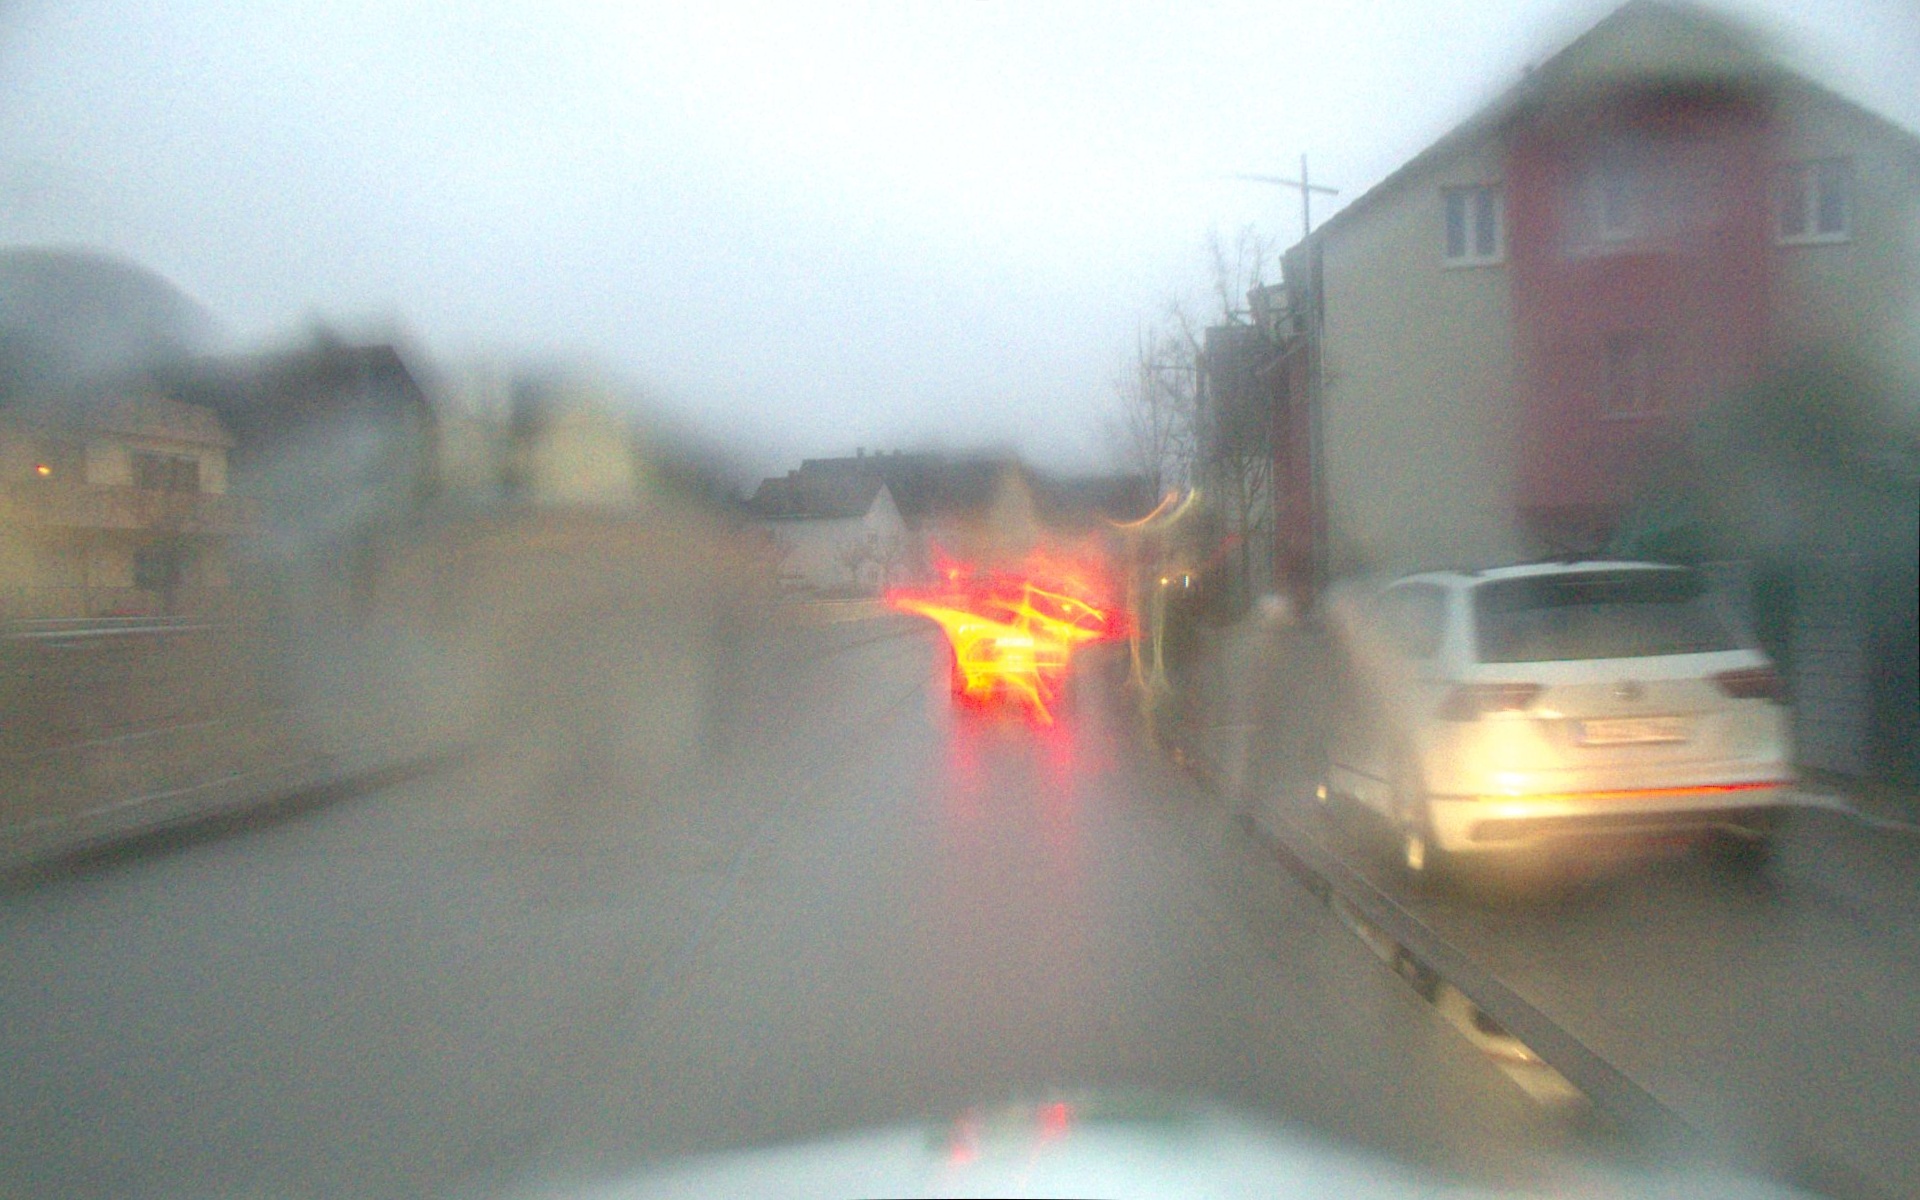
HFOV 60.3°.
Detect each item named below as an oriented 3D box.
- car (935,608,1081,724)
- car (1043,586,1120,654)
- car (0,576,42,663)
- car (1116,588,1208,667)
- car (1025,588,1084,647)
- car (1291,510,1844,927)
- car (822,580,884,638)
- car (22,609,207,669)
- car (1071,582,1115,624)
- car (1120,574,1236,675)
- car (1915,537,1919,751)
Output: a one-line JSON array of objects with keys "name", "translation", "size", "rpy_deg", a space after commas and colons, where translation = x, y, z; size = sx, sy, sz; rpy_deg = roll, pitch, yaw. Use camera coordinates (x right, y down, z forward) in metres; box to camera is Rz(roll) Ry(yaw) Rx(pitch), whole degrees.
[{"name": "car", "translation": [0.730, 0.900, 24.293], "size": [1.952, 1.552, 4.001], "rpy_deg": [0, 0, 2]}, {"name": "car", "translation": [3.260, 0.504, 44.500], "size": [1.952, 1.709, 4.002], "rpy_deg": [1, 0, 4]}, {"name": "car", "translation": [-24.374, 0.441, 39.545], "size": [3.902, 2.049, 2.002], "rpy_deg": [1, 0, 14]}, {"name": "car", "translation": [4.650, 0.604, 37.839], "size": [1.951, 1.699, 4.003], "rpy_deg": [0, 0, 8]}, {"name": "car", "translation": [3.434, 0.632, 59.557], "size": [1.951, 2.049, 4.002], "rpy_deg": [0, -1, 5]}, {"name": "car", "translation": [3.204, 0.519, 9.720], "size": [1.709, 1.816, 4.337], "rpy_deg": [-3, 1, 2]}, {"name": "car", "translation": [-3.902, 0.355, 61.038], "size": [1.952, 2.049, 4.000], "rpy_deg": [0, -1, 1]}, {"name": "car", "translation": [-20.591, 0.920, 40.502], "size": [1.951, 1.330, 4.116], "rpy_deg": [1, 0, 9]}, {"name": "car", "translation": [6.697, 0.188, 82.962], "size": [1.951, 2.049, 4.003], "rpy_deg": [0, -1, 8]}, {"name": "car", "translation": [4.005, 0.394, 29.957], "size": [1.951, 1.699, 4.004], "rpy_deg": [0, 1, 9]}, {"name": "car", "translation": [7.812, 0.341, 10.136], "size": [1.927, 1.610, 4.340], "rpy_deg": [-1, 1, 9]}]
